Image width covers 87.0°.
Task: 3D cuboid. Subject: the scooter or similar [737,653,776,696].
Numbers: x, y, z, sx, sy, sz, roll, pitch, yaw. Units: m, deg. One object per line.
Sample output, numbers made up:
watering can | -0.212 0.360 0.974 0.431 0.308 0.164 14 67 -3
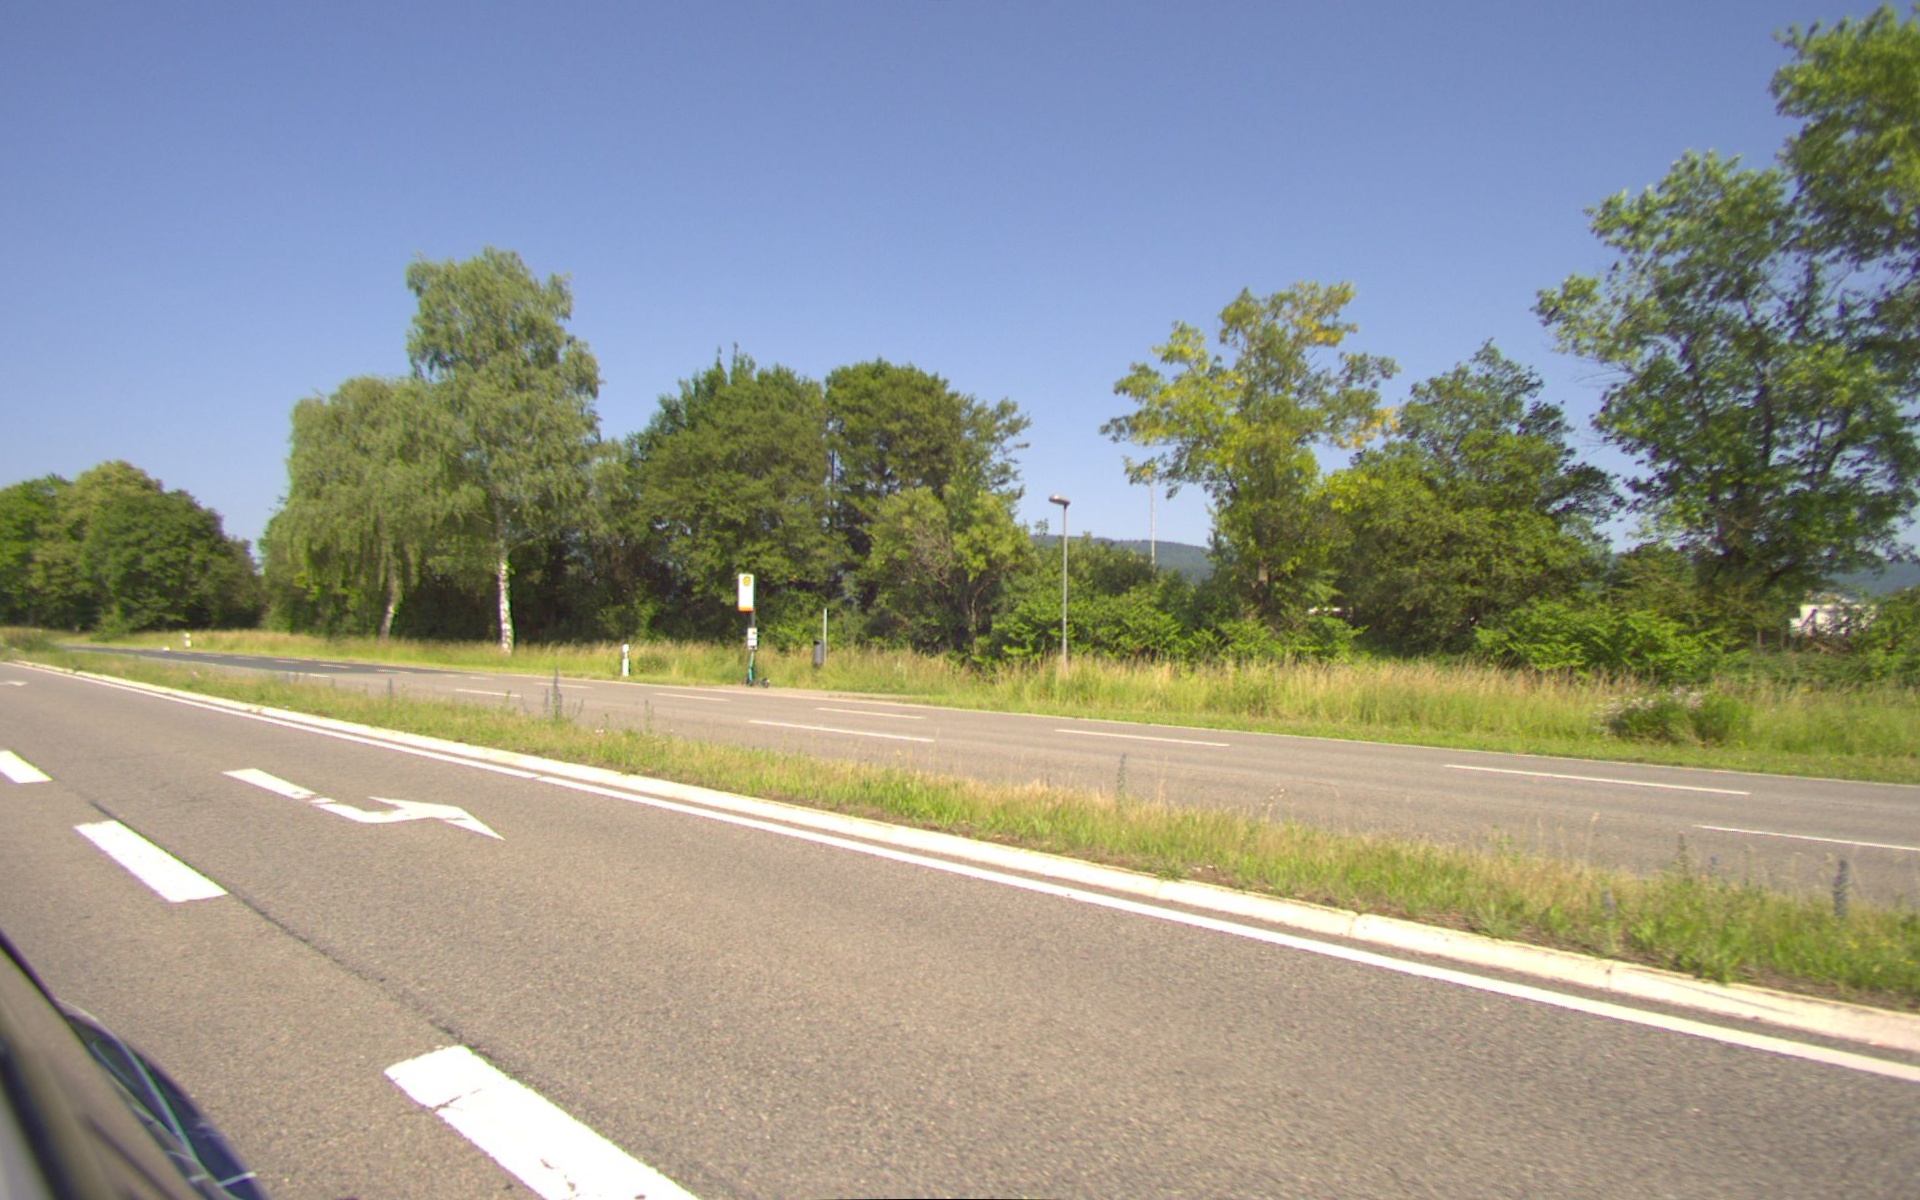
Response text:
scooter or similar | -5.994 2.187 29.800 1.340 1.195 0.364 -1 -4 42
